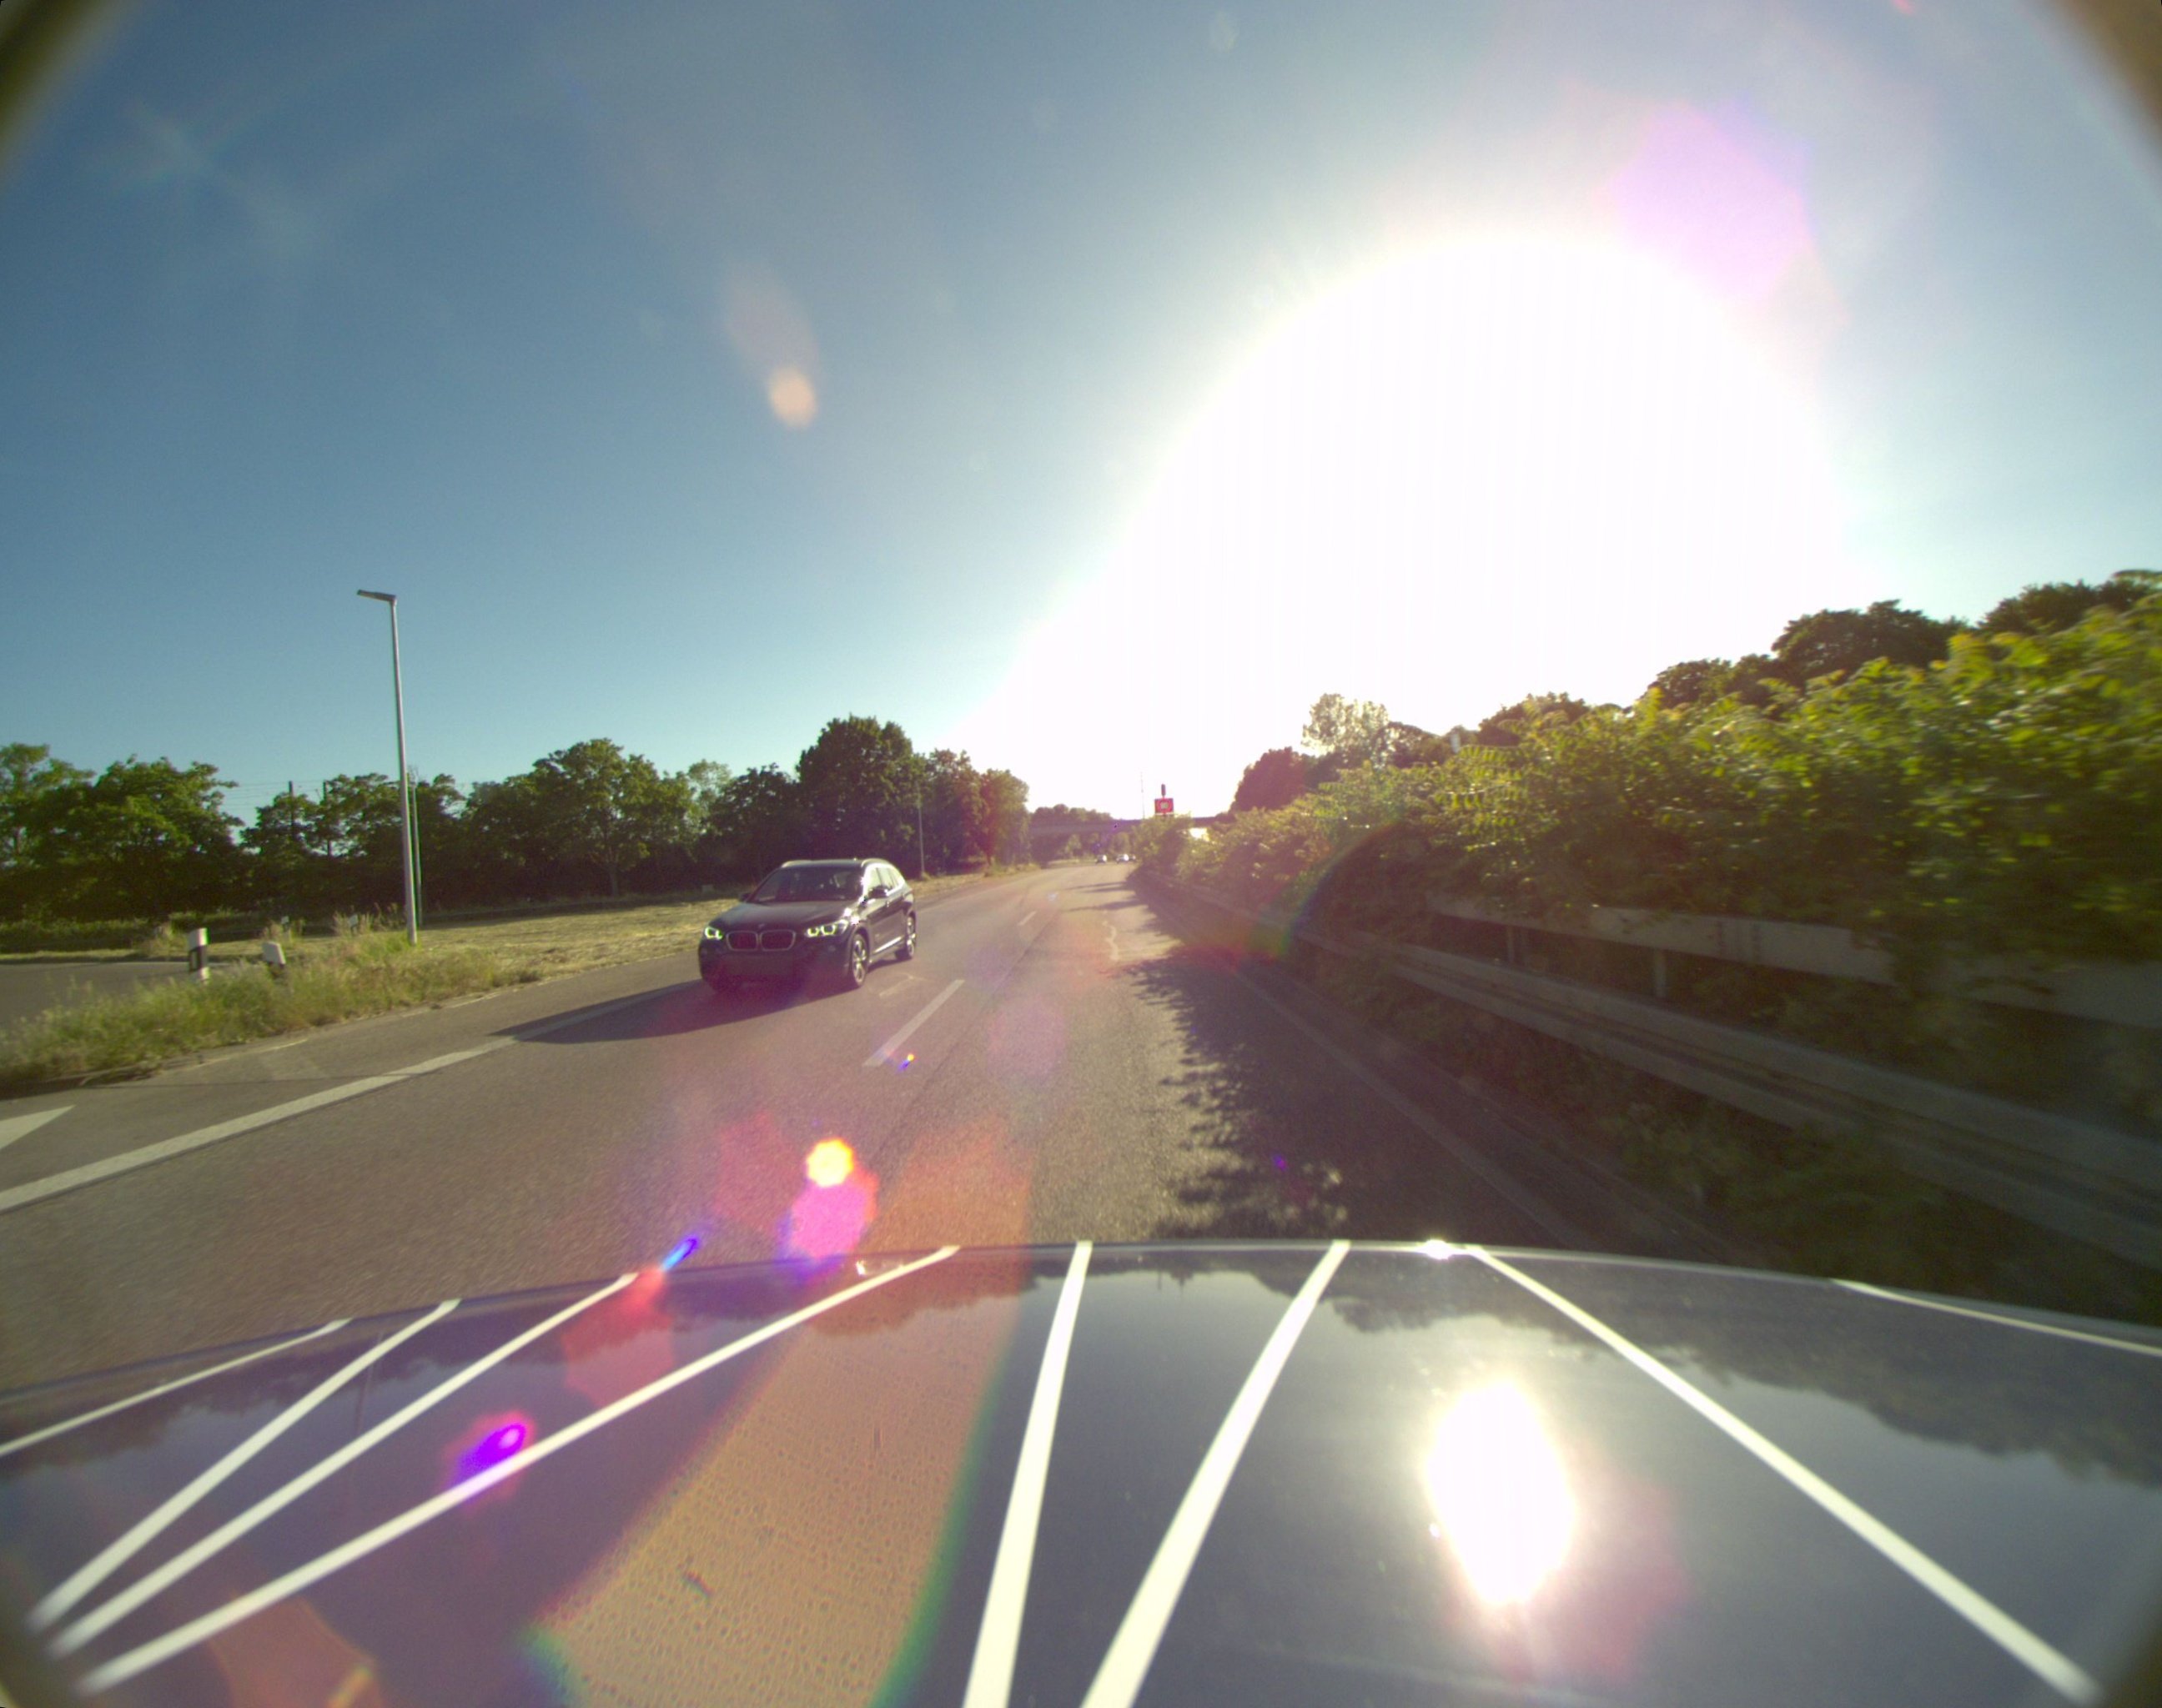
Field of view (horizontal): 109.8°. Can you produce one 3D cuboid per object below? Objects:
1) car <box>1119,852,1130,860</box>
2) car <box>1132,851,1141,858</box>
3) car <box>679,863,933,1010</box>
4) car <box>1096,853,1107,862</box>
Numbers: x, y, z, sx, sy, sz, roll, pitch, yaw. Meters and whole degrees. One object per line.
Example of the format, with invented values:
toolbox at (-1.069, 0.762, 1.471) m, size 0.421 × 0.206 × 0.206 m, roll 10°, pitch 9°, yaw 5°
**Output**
car at (7.537, 0.351, 131.884) m, size 1.725 × 1.412 × 3.670 m, roll -3°, pitch 0°, yaw 2°
car at (11.907, 0.079, 162.051) m, size 1.725 × 1.412 × 3.671 m, roll -3°, pitch 0°, yaw 6°
car at (-3.535, 0.966, 10.808) m, size 1.759 × 1.564 × 4.521 m, roll -1°, pitch 0°, yaw 3°
car at (3.606, 0.582, 133.078) m, size 1.682 × 1.412 × 3.671 m, roll -3°, pitch 0°, yaw 5°
